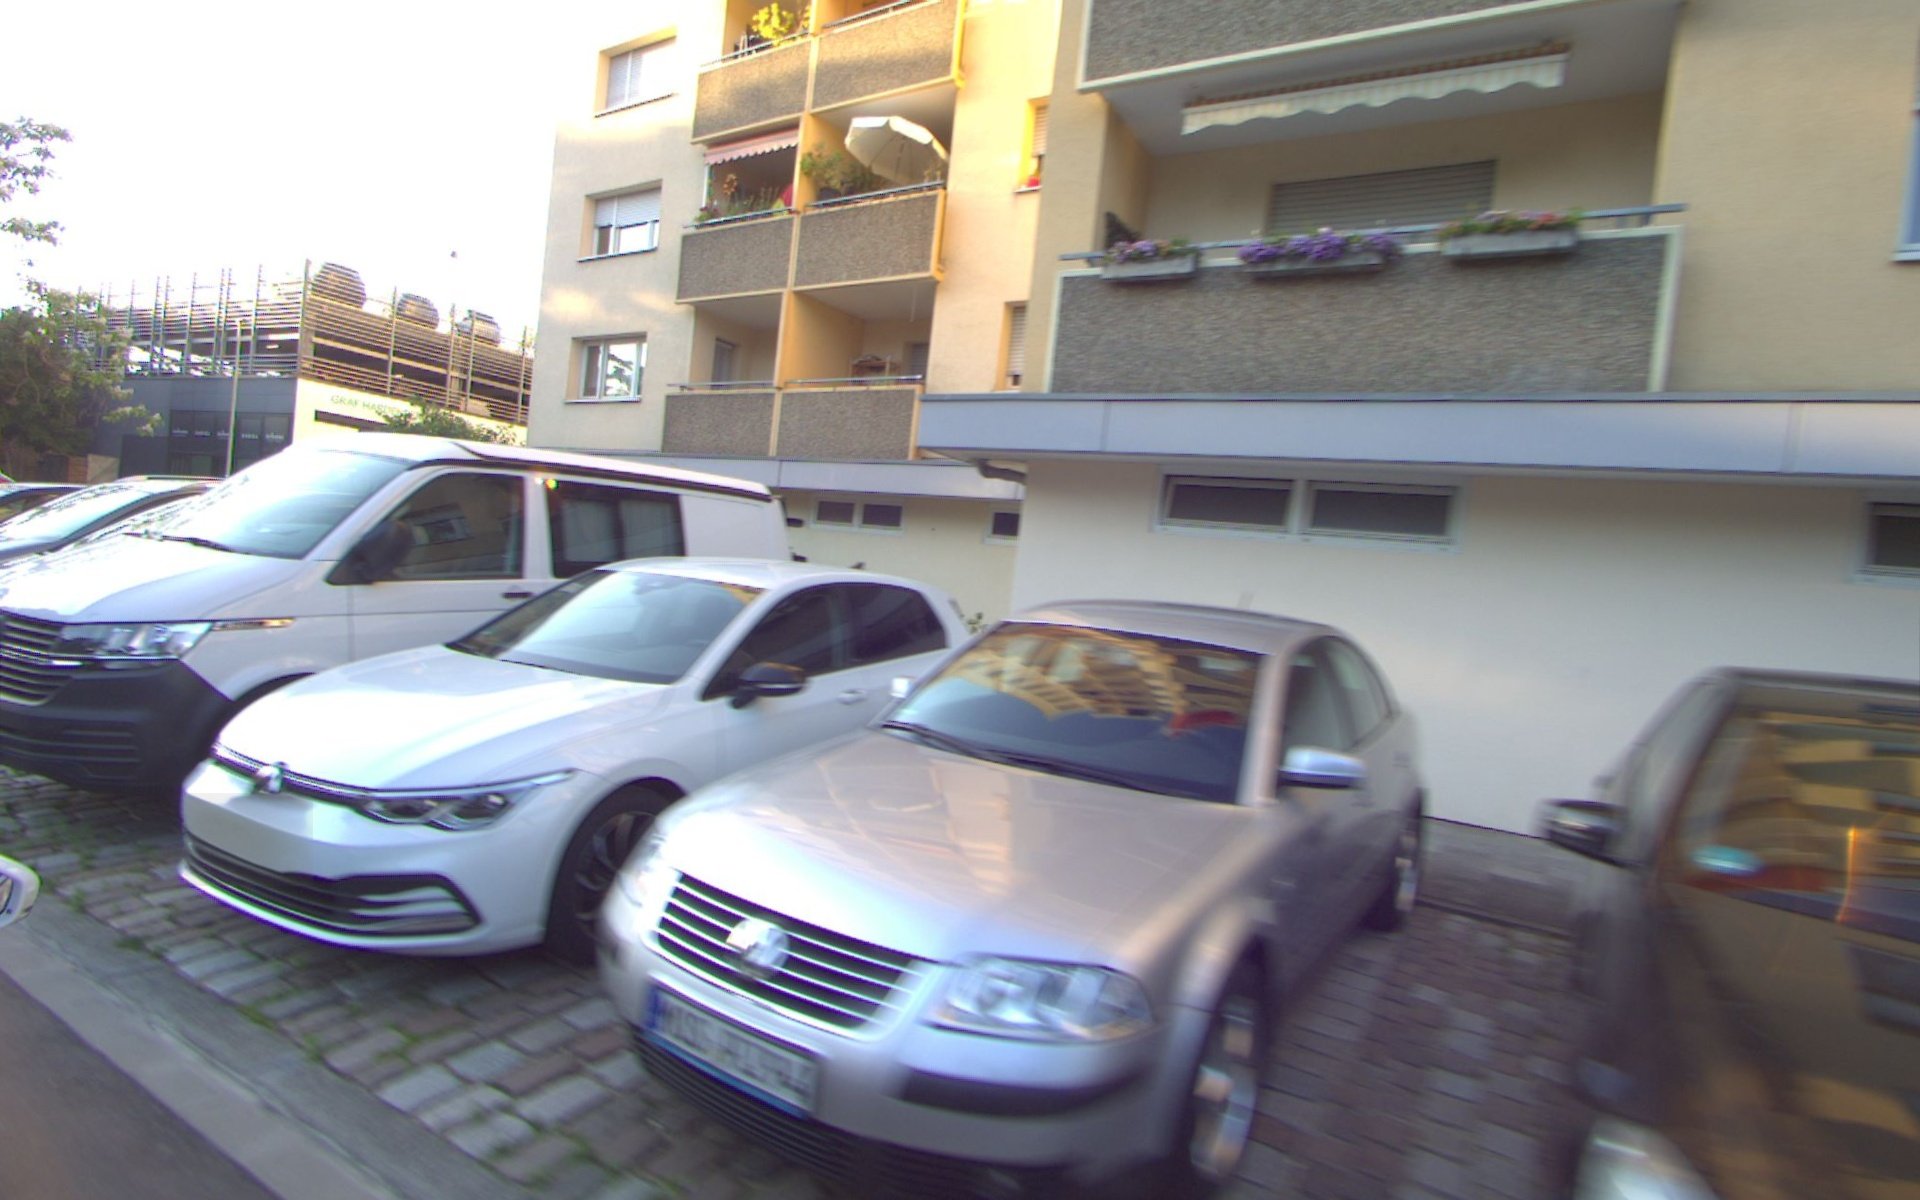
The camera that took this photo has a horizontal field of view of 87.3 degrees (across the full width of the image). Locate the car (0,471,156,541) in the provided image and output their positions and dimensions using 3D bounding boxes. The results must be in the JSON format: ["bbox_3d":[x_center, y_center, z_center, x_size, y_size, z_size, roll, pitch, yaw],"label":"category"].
[{"bbox_3d":[-25.160,-2.631,27.741,1.794,1.523,4.290,7,2,35],"label":"car"}]

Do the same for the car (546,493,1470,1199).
[{"bbox_3d":[0.838,0.656,4.089,1.815,1.613,4.406,5,1,31],"label":"car"}]

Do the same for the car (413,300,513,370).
[{"bbox_3d":[-20.567,-10.892,41.566,3.939,2.038,1.993,6,0,36],"label":"car"}]

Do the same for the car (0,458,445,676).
[{"bbox_3d":[-7.497,-0.303,9.508,1.814,1.684,4.405,5,2,29],"label":"car"}]

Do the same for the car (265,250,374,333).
[{"bbox_3d":[-23.787,-11.362,37.334,3.939,2.038,1.993,6,0,36],"label":"car"}]

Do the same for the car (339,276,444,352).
[{"bbox_3d":[-22.305,-11.130,39.422,3.939,2.038,1.993,6,0,36],"label":"car"}]

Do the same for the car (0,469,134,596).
[{"bbox_3d":[-14.051,-1.011,13.334,1.814,1.652,4.407,5,1,29],"label":"car"}]

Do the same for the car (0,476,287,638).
[{"bbox_3d":[-9.826,-0.457,10.399,1.814,1.551,4.407,5,1,29],"label":"car"}]

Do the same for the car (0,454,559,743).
[{"bbox_3d":[-5.518,-0.049,7.782,1.751,1.684,4.327,5,2,29],"label":"car"}]

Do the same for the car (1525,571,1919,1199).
[{"bbox_3d":[2.544,0.890,2.546,1.815,1.583,4.406,5,1,31],"label":"car"}]

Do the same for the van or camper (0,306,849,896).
[{"bbox_3d":[-3.090,-0.085,6.469,2.005,2.198,5.132,6,4,29],"label":"van or camper"}]

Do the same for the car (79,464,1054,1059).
[{"bbox_3d":[-1.331,0.465,5.142,1.815,1.652,4.406,5,1,31],"label":"car"}]

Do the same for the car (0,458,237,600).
[{"bbox_3d":[-11.792,-0.908,12.335,1.816,1.654,4.398,7,4,33],"label":"car"}]
